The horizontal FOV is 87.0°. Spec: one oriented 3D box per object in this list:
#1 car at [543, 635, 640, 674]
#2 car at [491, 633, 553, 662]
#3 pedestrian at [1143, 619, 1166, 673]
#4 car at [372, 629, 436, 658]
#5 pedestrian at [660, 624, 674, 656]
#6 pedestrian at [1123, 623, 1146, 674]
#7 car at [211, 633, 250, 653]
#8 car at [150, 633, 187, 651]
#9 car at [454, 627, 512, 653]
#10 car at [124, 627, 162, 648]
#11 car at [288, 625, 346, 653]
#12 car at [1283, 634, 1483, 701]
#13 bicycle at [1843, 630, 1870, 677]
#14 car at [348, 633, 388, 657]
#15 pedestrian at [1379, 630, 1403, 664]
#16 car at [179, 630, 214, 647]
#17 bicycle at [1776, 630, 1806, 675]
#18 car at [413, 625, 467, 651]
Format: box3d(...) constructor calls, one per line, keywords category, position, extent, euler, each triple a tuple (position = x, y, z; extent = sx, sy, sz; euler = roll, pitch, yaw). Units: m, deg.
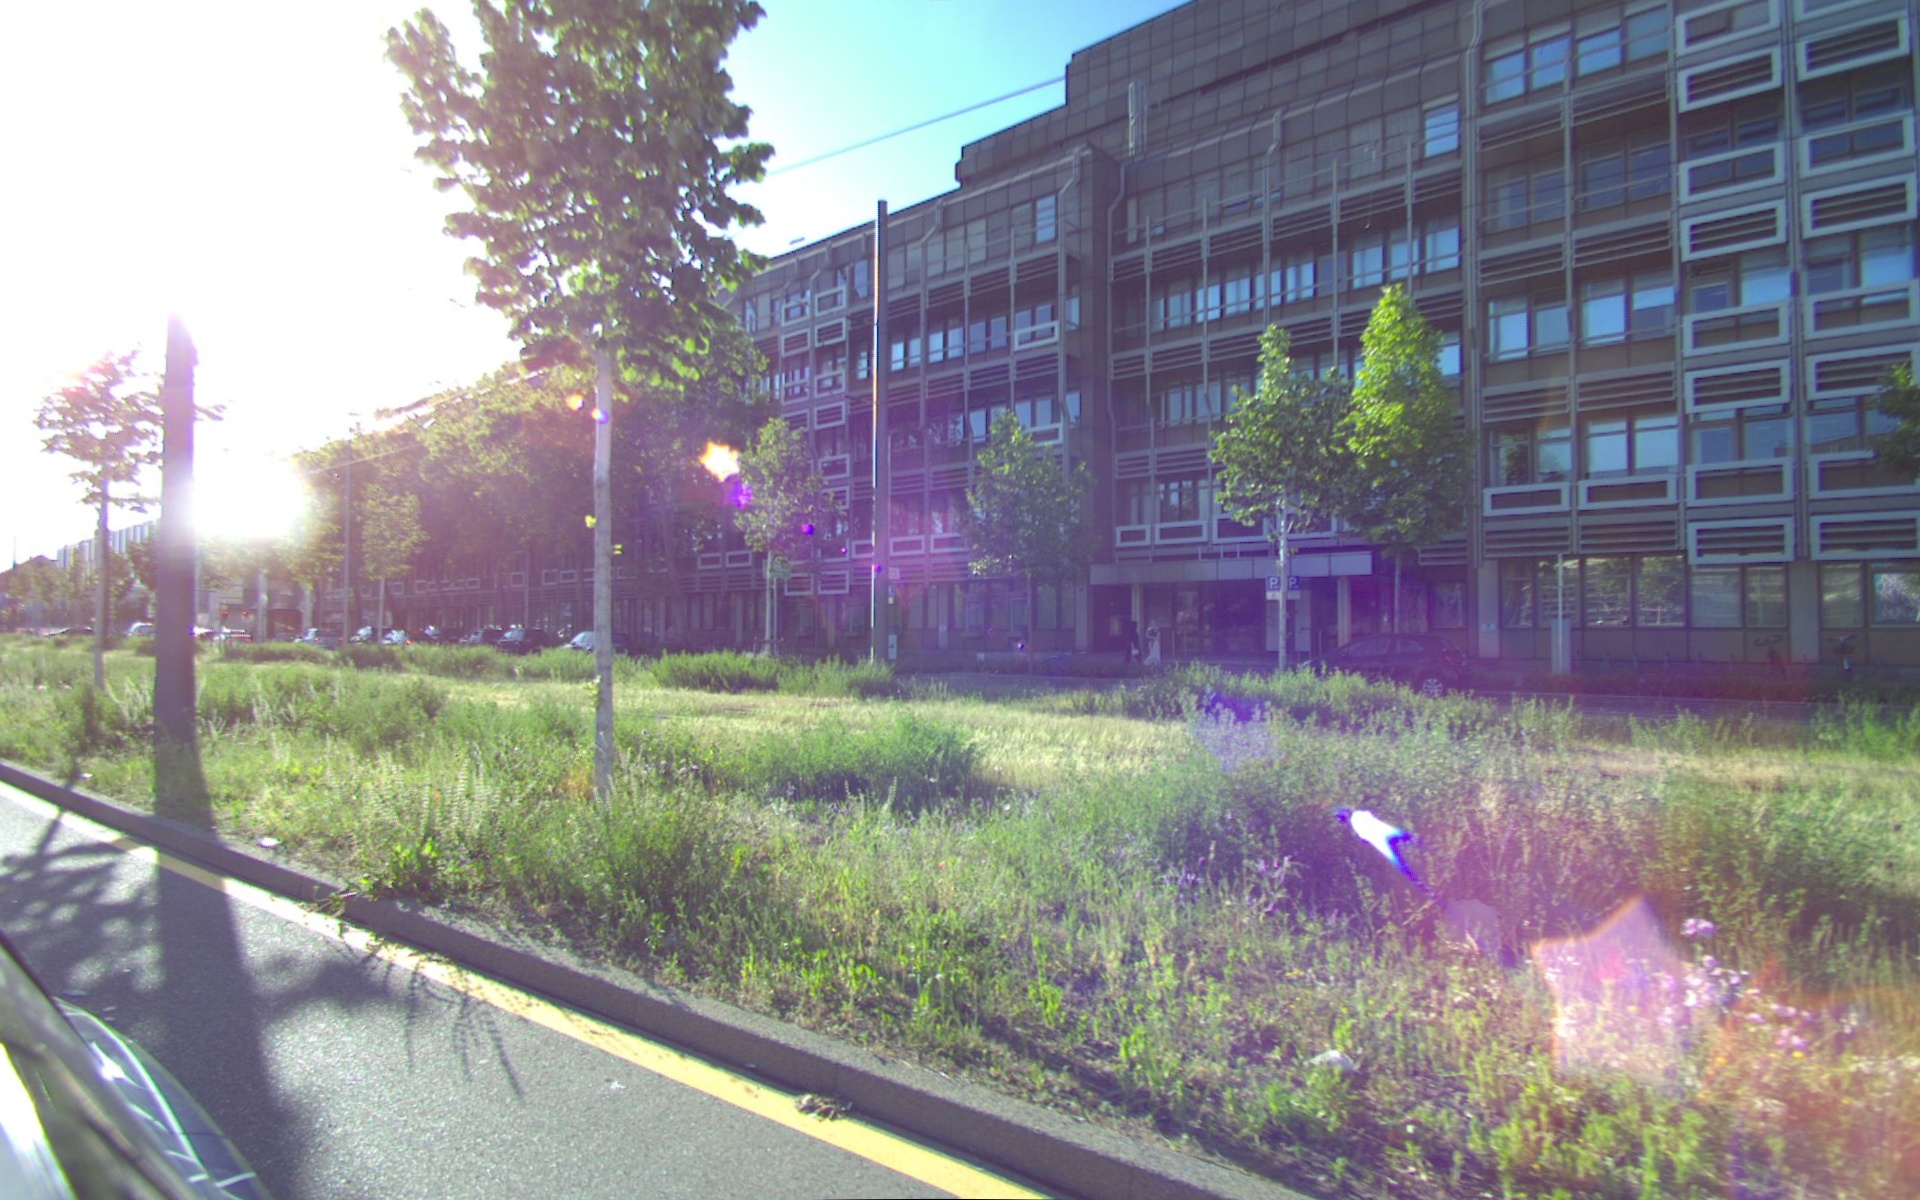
box3d(category="car", position=(-14.540, 2.112, 39.900), extent=(4.034, 1.397, 1.700), euler=(-2, 0, 38))
box3d(category="car", position=(-24.854, 2.659, 57.367), extent=(3.626, 1.555, 1.705), euler=(-2, -1, 38))
box3d(category="pedestrian", position=(6.242, 1.476, 32.513), extent=(0.536, 1.735, 0.515), euler=(-2, -3, 42))
box3d(category="car", position=(-30.347, 2.355, 55.171), extent=(4.413, 1.507, 1.611), euler=(-2, -3, 40))
box3d(category="pedestrian", position=(-16.650, 2.268, 57.570), extent=(0.638, 1.763, 0.477), euler=(-2, -3, 40))
box3d(category="pedestrian", position=(5.525, 1.543, 32.089), extent=(0.536, 1.590, 0.515), euler=(-2, -3, 42))
box3d(category="car", position=(-56.478, 3.292, 78.345), extent=(3.777, 1.507, 1.611), euler=(-2, -3, 40))
box3d(category="car", position=(-62.006, 3.277, 79.277), extent=(3.777, 1.390, 1.535), euler=(-2, -3, 40))
box3d(category="car", position=(-29.045, 2.403, 61.604), extent=(3.626, 1.497, 1.705), euler=(-2, -1, 38))
box3d(category="car", position=(-69.464, 3.171, 86.051), extent=(3.777, 1.694, 1.842), euler=(-2, -3, 40))
box3d(category="car", position=(-35.592, 2.144, 55.995), extent=(3.777, 1.507, 1.611), euler=(-2, -3, 40))
box3d(category="car", position=(9.926, 1.537, 23.901), extent=(4.035, 1.397, 1.699), euler=(-1, -1, 39))
box3d(category="bicycle", position=(21.479, 1.274, 24.237), extent=(0.425, 1.080, 1.907), euler=(-2, -3, 43))
box3d(category="car", position=(-42.238, 3.221, 72.204), extent=(3.262, 1.614, 1.373), euler=(-2, -1, 38))
box3d(category="pedestrian", position=(12.878, 1.403, 30.252), extent=(0.498, 0.993, 0.610), euler=(-2, -3, 41))
box3d(category="car", position=(-64.595, 3.283, 85.635), extent=(3.777, 1.390, 1.535), euler=(-2, -3, 40))
box3d(category="bicycle", position=(20.527, 1.290, 24.996), extent=(0.425, 1.080, 1.854), euler=(-2, -3, 43))
box3d(category="car", position=(-33.496, 2.431, 65.183), extent=(3.626, 1.614, 1.705), euler=(-2, -1, 38))
